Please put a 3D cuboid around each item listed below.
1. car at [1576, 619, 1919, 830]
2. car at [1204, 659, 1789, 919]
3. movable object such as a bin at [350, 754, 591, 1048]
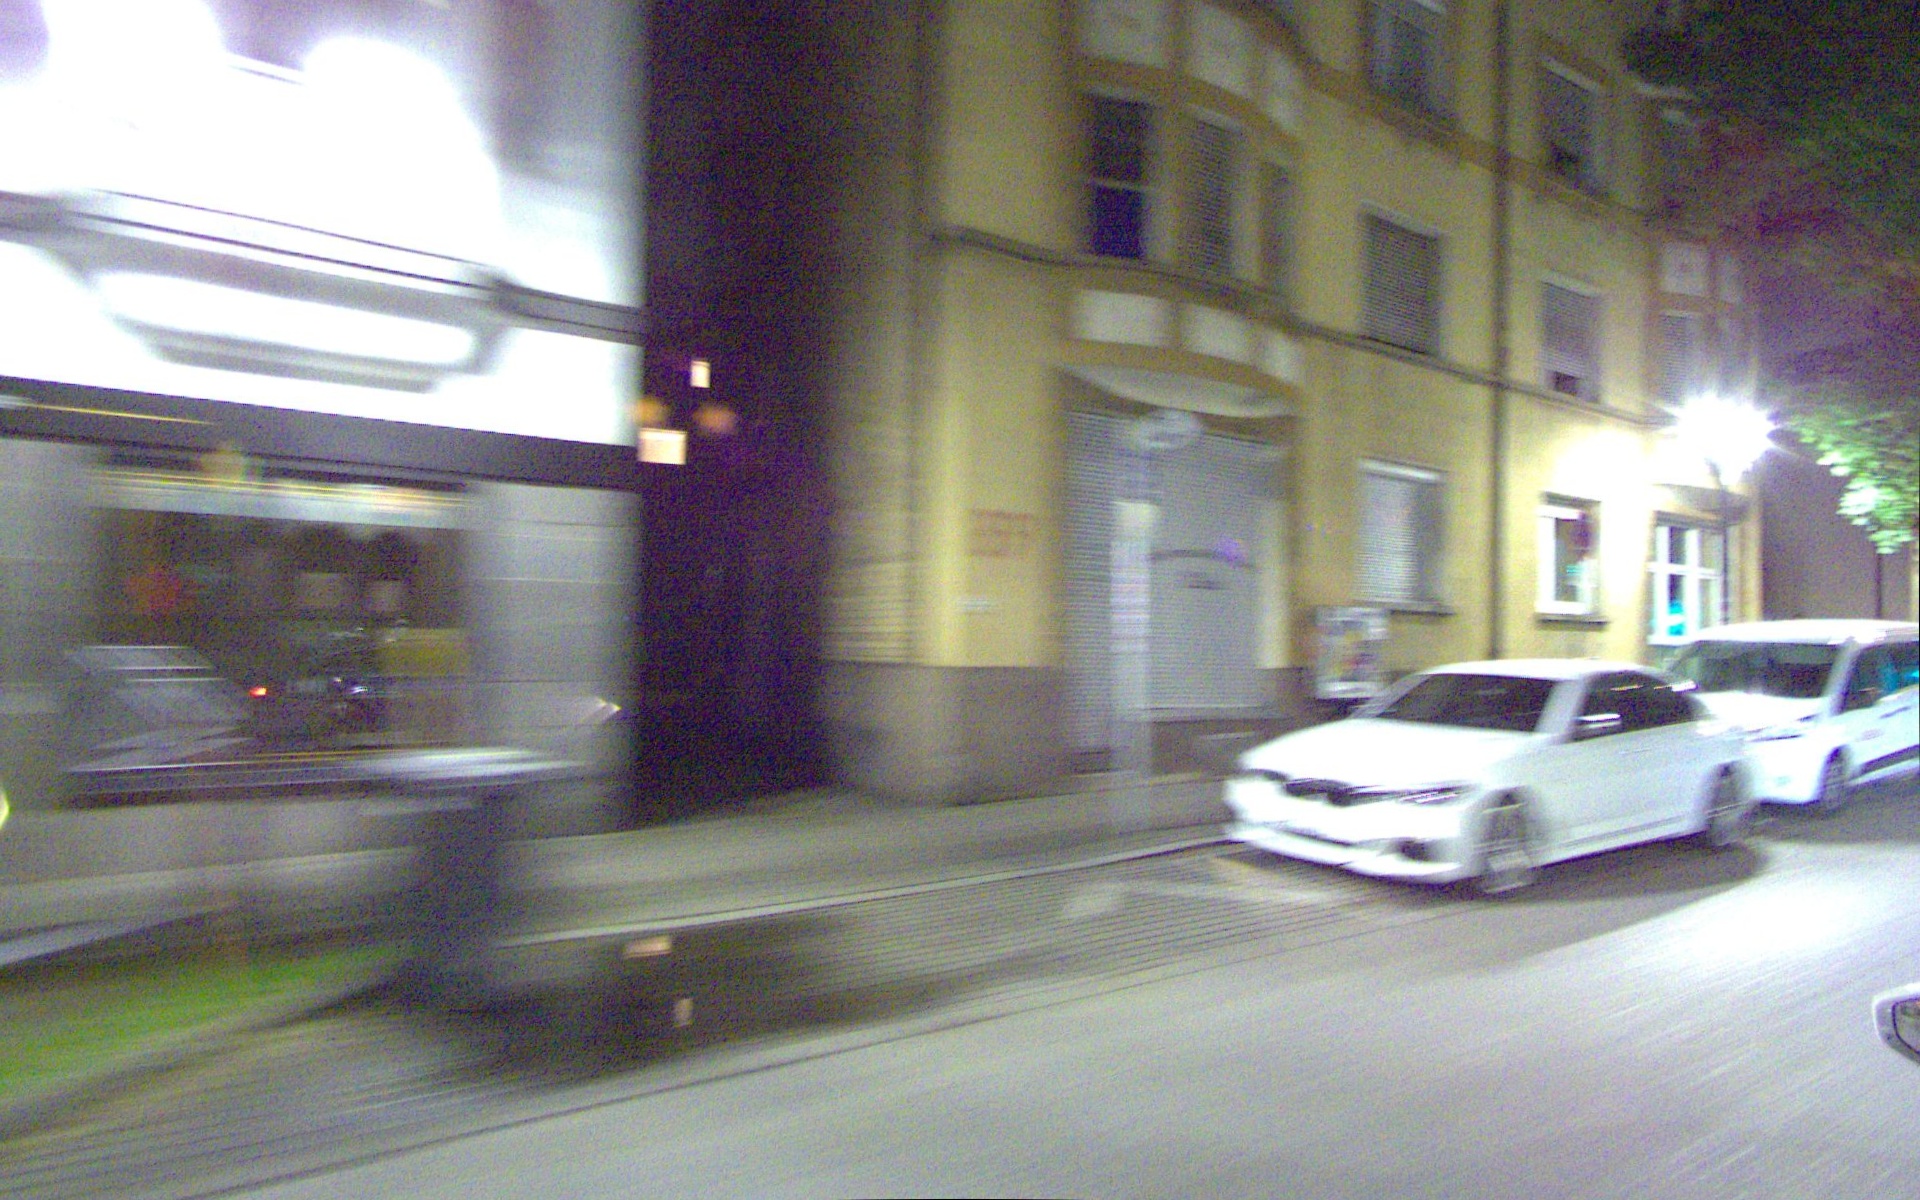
[{"bbox_3d":[8.954,1.189,10.967,4.761,1.867,1.873,1,-3,-32],"label":"car"},{"bbox_3d":[4.345,1.225,7.912,4.824,1.469,1.830,2,-3,-30],"label":"car"},{"bbox_3d":[-2.123,1.258,4.405,0.676,1.063,0.626,0,-2,19],"label":"movable object such as a bin"}]
